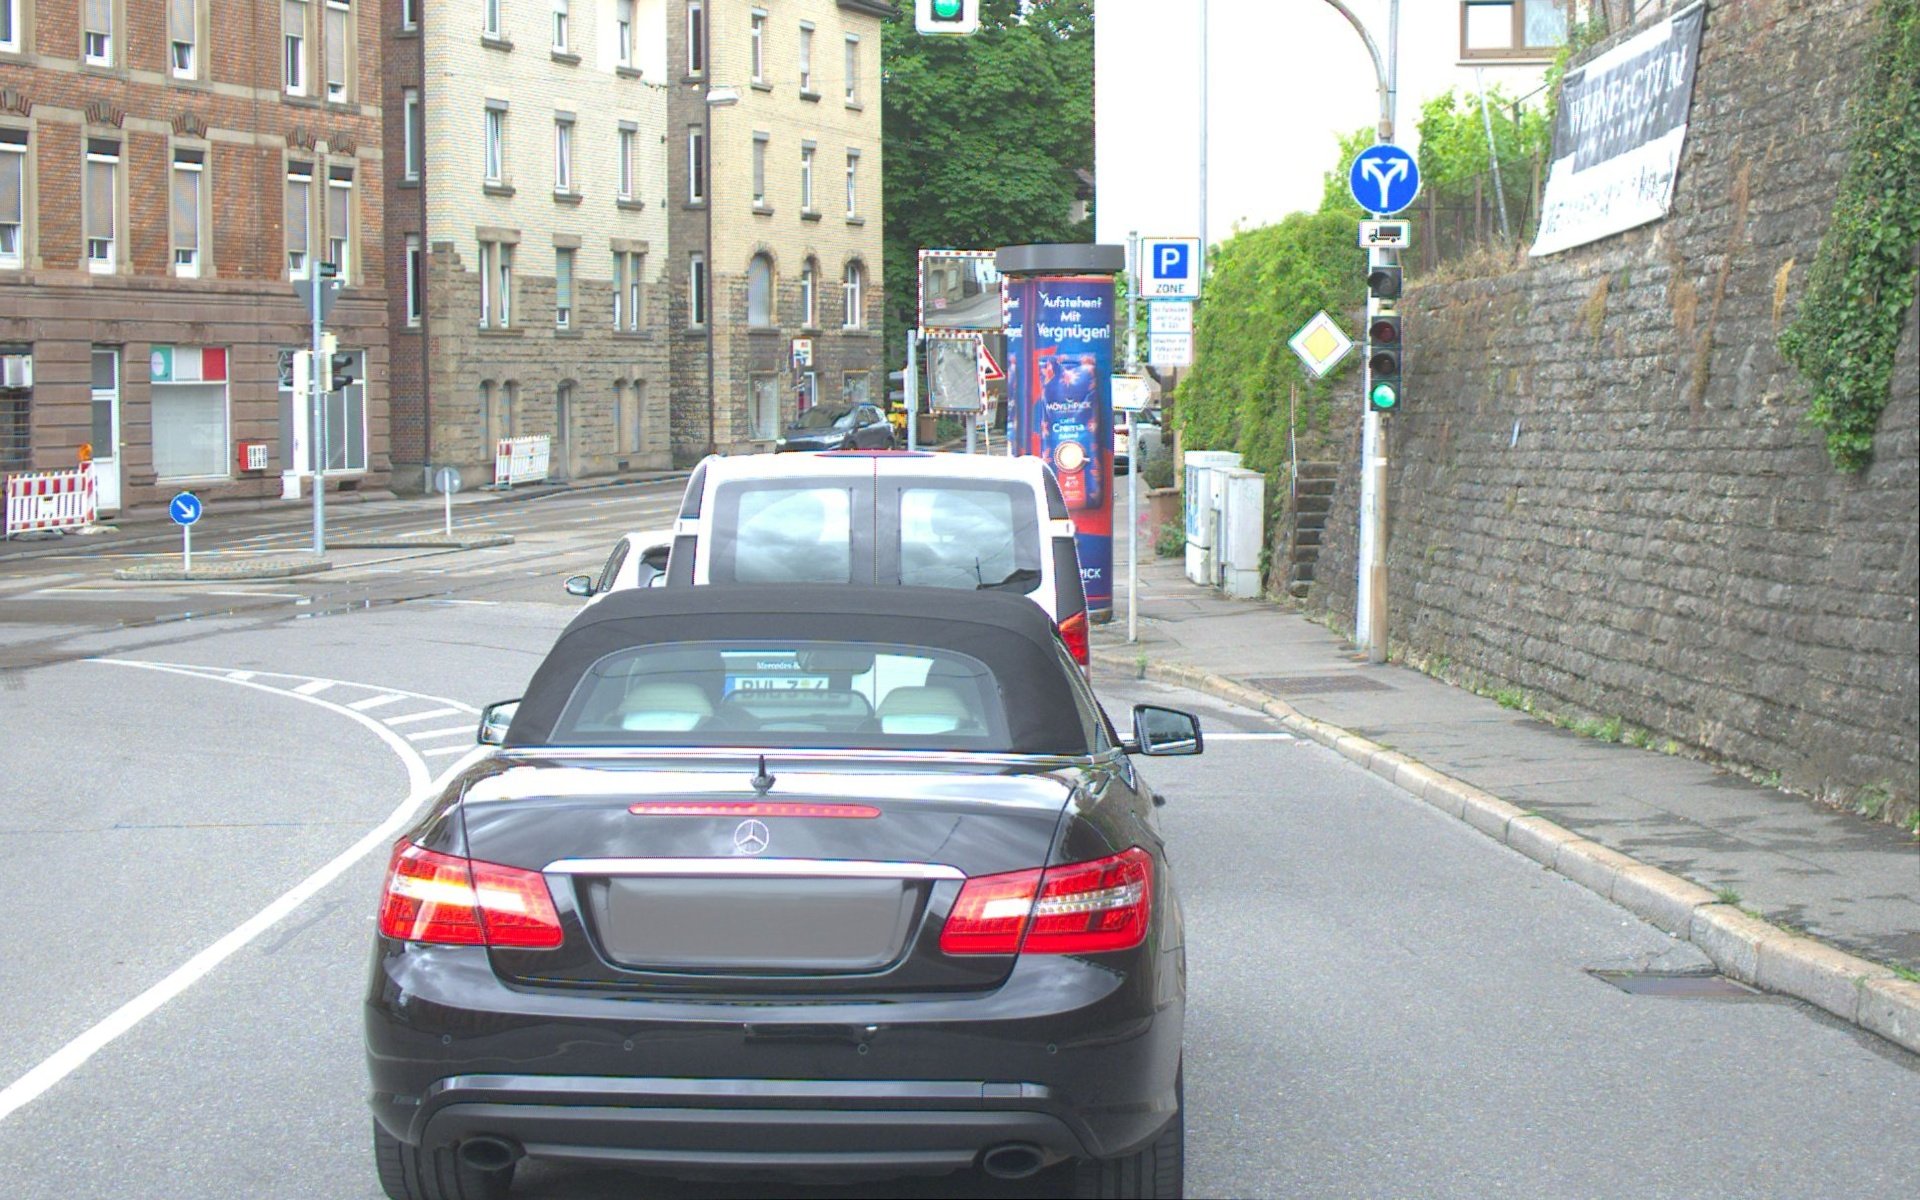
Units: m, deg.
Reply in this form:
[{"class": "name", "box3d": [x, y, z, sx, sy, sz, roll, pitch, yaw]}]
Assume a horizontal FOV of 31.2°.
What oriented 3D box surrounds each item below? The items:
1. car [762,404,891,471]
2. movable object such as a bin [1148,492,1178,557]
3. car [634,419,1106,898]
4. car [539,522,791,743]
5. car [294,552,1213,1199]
[{"class": "car", "box3d": [-3.263, -4.031, 85.014, 1.995, 1.509, 4.284, 0, 4, 15]}, {"class": "movable object such as a bin", "box3d": [2.852, -1.060, 48.301, 0.343, 0.908, 0.495, 0, 1, -6]}, {"class": "car", "box3d": [-0.395, 0.179, 16.168, 1.891, 1.922, 4.646, 0, 1, -1]}, {"class": "car", "box3d": [-2.105, 0.174, 24.959, 1.680, 1.461, 3.919, 0, 1, -4]}, {"class": "car", "box3d": [-0.423, 0.609, 8.808, 1.761, 1.404, 4.399, 0, 1, -1]}]
